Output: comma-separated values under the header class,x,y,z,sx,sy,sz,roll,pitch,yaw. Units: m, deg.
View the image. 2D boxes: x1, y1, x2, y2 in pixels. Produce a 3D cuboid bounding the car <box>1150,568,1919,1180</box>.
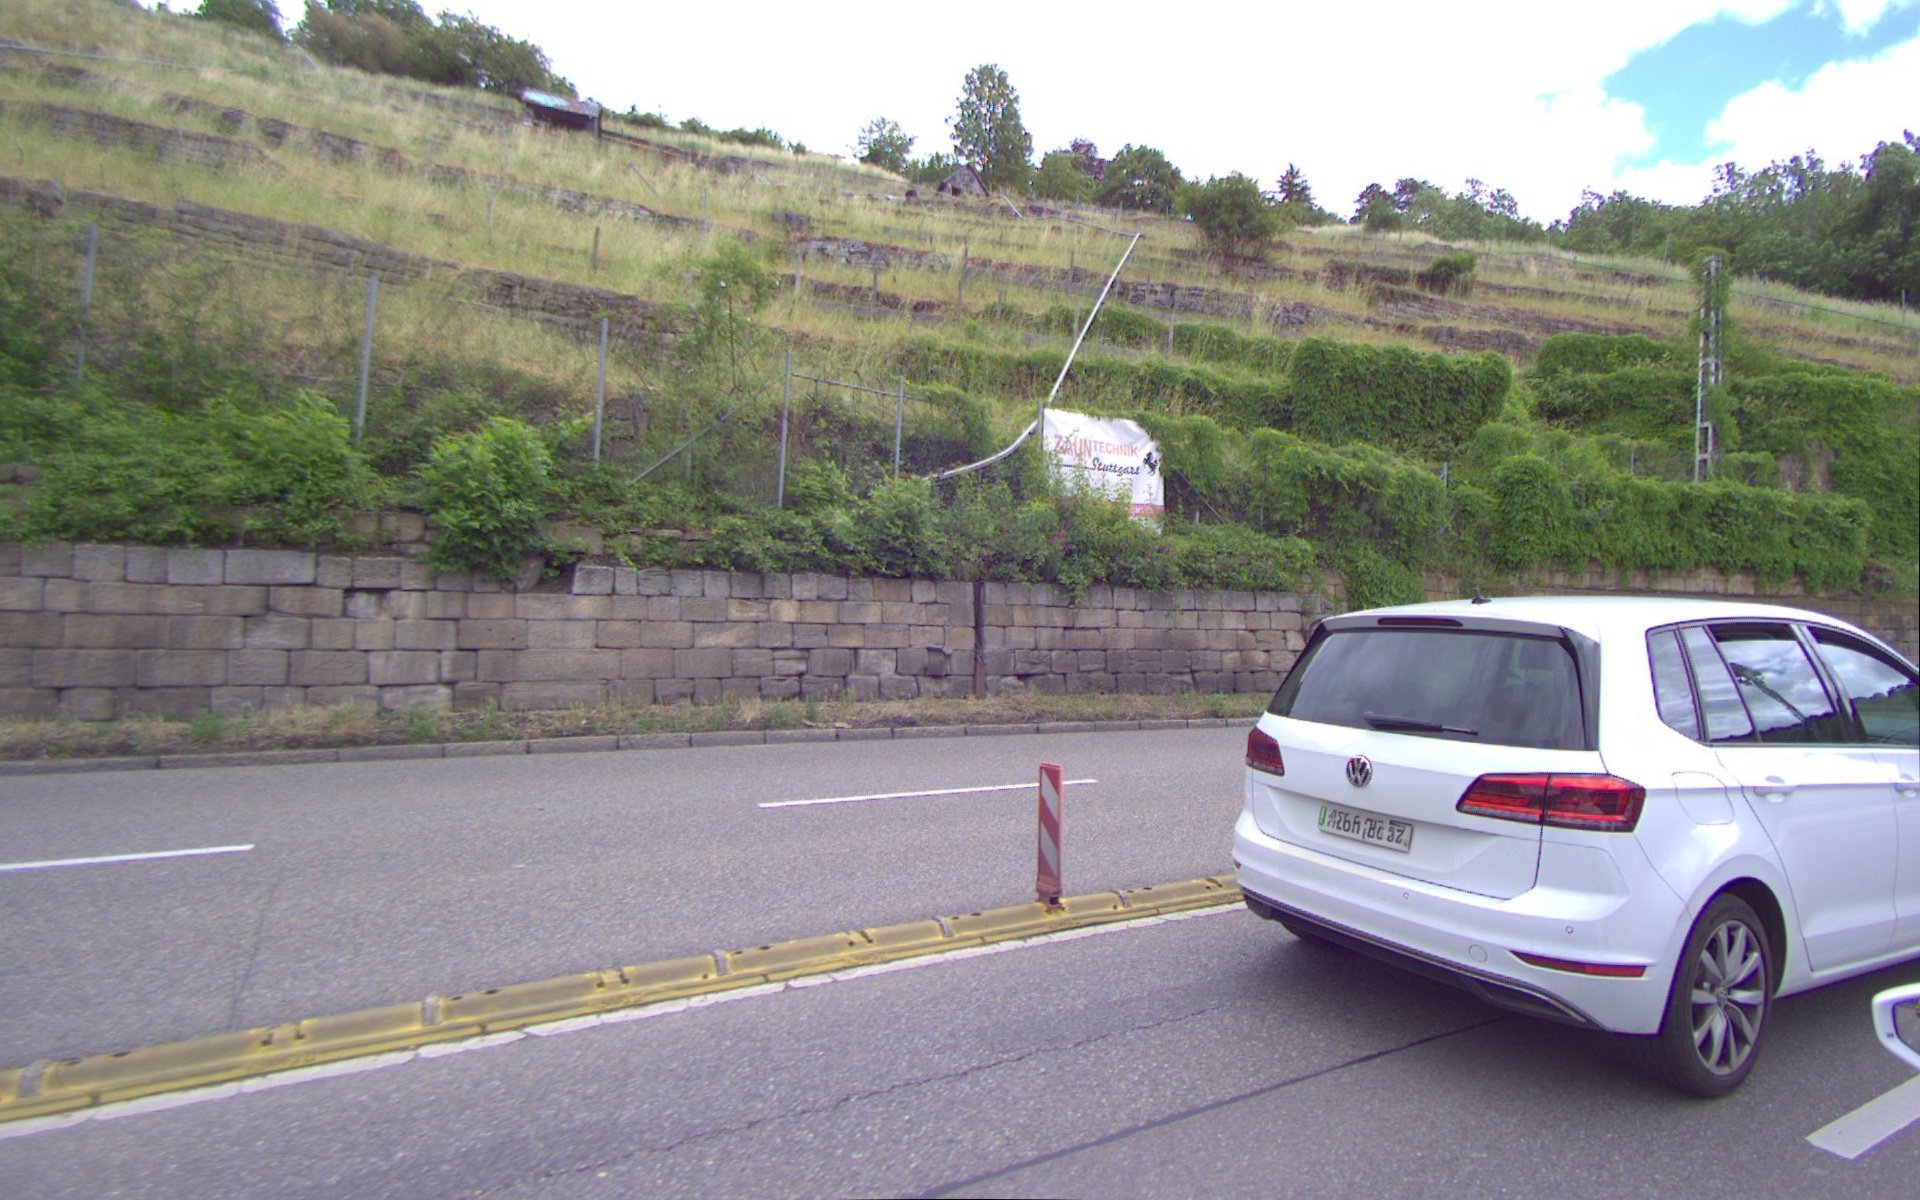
class,x,y,z,sx,sy,sz,roll,pitch,yaw
car,3.125,0.770,4.468,4.302,1.601,1.813,2,0,-29
